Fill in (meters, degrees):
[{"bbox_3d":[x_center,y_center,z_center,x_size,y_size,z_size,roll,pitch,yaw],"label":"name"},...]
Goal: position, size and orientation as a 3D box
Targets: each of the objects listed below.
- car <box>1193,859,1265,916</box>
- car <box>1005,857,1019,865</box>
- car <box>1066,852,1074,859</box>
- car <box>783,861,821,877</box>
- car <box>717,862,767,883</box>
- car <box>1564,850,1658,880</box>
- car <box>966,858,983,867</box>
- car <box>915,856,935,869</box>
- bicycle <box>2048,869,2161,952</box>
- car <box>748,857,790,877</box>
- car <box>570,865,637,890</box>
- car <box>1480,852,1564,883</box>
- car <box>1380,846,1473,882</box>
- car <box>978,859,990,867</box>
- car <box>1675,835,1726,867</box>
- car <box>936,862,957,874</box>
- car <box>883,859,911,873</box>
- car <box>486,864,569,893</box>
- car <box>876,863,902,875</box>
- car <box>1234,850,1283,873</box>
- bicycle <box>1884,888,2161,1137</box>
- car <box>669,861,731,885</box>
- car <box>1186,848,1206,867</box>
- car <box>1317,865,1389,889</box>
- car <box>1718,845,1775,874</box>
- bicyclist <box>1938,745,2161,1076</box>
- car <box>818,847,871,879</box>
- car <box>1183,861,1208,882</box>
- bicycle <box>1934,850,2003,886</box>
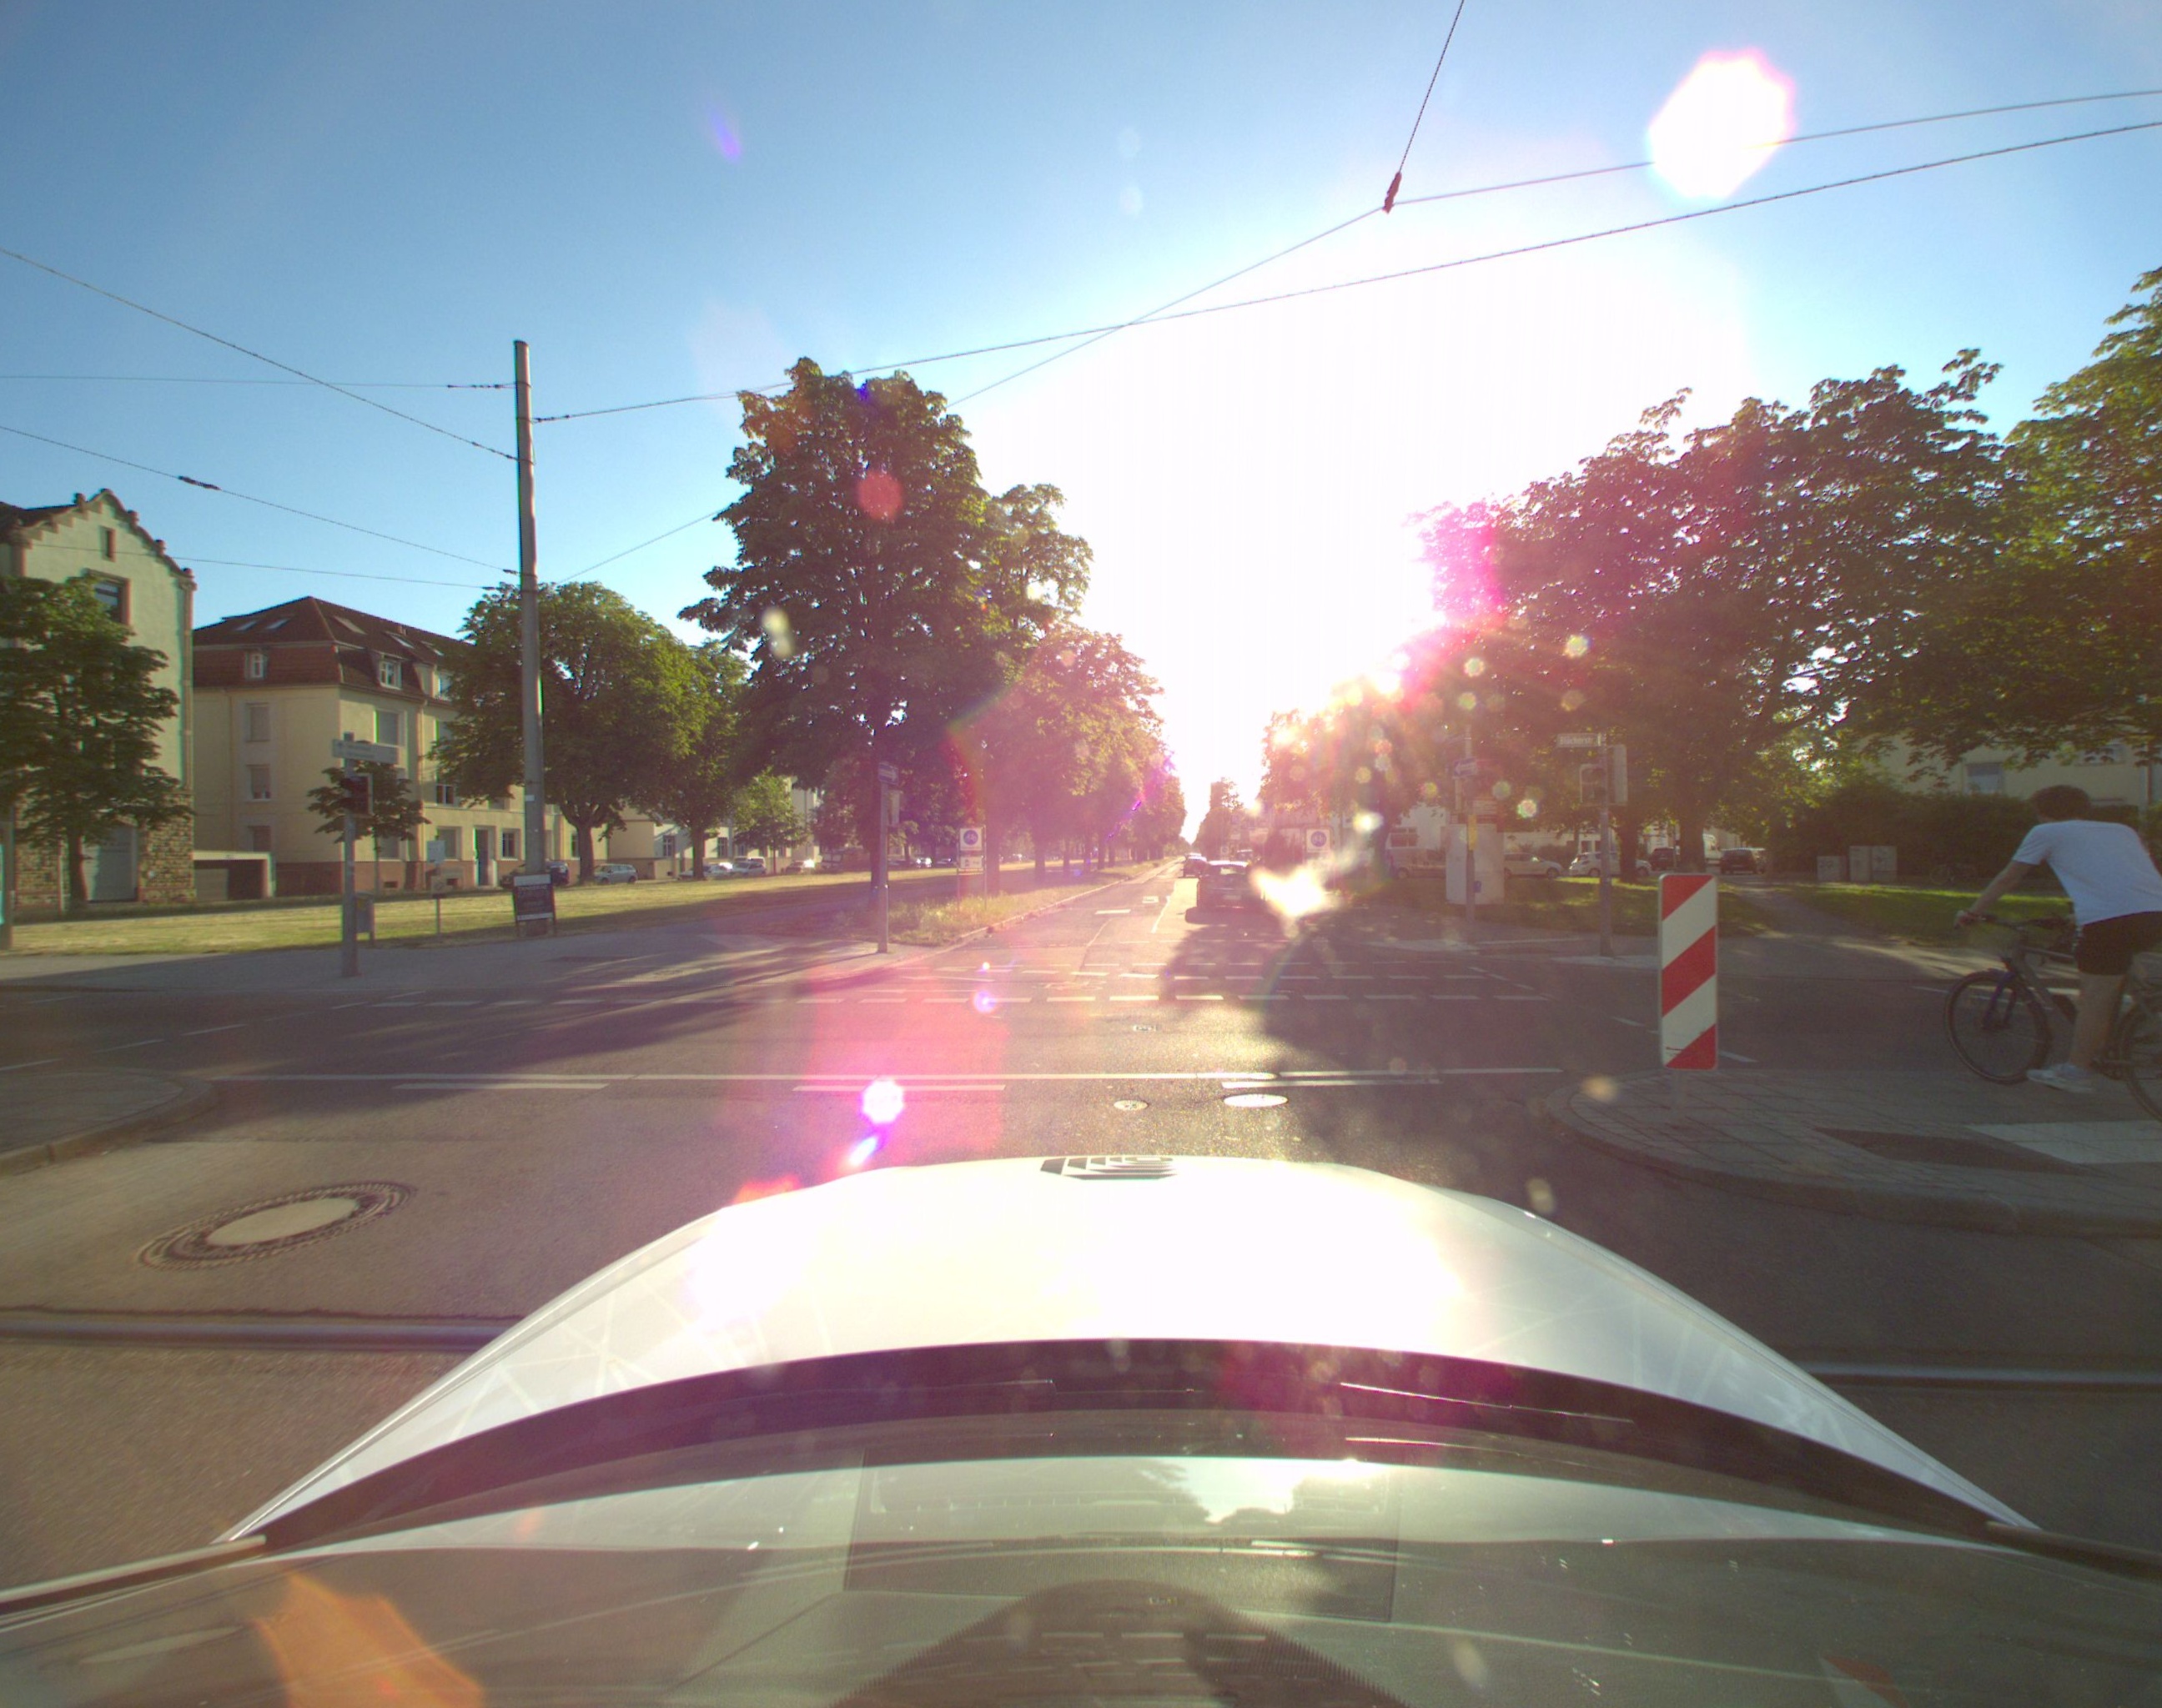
[{"bbox_3d":[4.364,0.924,24.559,1.717,1.511,4.546,1,0,5],"label":"car"},{"bbox_3d":[-14.581,1.426,172.073,1.983,1.659,4.580,-1,0,7],"label":"car"},{"bbox_3d":[-3.211,0.428,238.023,1.645,1.938,3.574,1,-2,7],"label":"car"},{"bbox_3d":[-30.335,1.570,88.728,1.982,1.659,4.582,1,0,9],"label":"car"},{"bbox_3d":[-27.712,1.480,66.732,1.787,1.554,4.427,2,1,6],"label":"car"},{"bbox_3d":[27.702,0.566,42.616,3.905,1.524,1.524,0,-1,2],"label":"car"},{"bbox_3d":[-20.770,1.722,158.663,1.982,1.659,4.366,1,0,9],"label":"car"},{"bbox_3d":[-24.760,1.327,129.487,1.983,2.014,4.006,1,0,6],"label":"car"},{"bbox_3d":[14.443,0.765,11.175,1.511,1.089,0.469,-1,2,15],"label":"bicycle"},{"bbox_3d":[-31.417,1.258,82.140,1.983,1.950,4.886,-1,0,6],"label":"car"},{"bbox_3d":[-34.507,1.663,58.981,1.982,1.659,4.010,1,0,9],"label":"car"},{"bbox_3d":[23.078,0.695,42.694,3.540,1.516,1.606,-1,0,1],"label":"car"},{"bbox_3d":[18.474,0.523,43.735,4.219,1.875,2.035,0,-1,7],"label":"car"},{"bbox_3d":[-19.800,1.846,166.181,1.631,1.643,3.861,1,0,6],"label":"car"},{"bbox_3d":[47.754,-0.206,62.758,4.541,2.337,2.089,2,-1,-39],"label":"car"},{"bbox_3d":[-20.153,2.086,121.949,1.801,1.781,4.132,1,0,8],"label":"car"},{"bbox_3d":[-22.946,1.451,101.715,1.869,1.674,4.325,1,0,8],"label":"car"},{"bbox_3d":[-35.627,1.536,52.567,1.982,1.736,4.322,1,0,9],"label":"car"},{"bbox_3d":[-26.504,2.056,112.489,1.982,1.659,4.385,1,0,9],"label":"car"},{"bbox_3d":[15.709,0.668,72.187,3.970,1.823,1.761,-1,-6,3],"label":"car"},{"bbox_3d":[5.841,0.833,4.824,0.569,1.184,1.911,1,0,11],"label":"bicycle"},{"bbox_3d":[-28.512,1.411,61.124,1.982,1.659,4.582,1,0,9],"label":"car"},{"bbox_3d":[11.753,0.327,83.433,1.983,1.781,4.008,1,1,7],"label":"car"},{"bbox_3d":[16.743,1.423,50.280,3.966,1.447,1.719,0,-1,7],"label":"car"},{"bbox_3d":[38.433,0.284,46.985,4.022,1.552,1.976,-2,1,-42],"label":"car"},{"bbox_3d":[5.796,0.300,4.694,0.809,1.732,0.896,1,-1,10],"label":"bicyclist"},{"bbox_3d":[-24.966,0.859,86.374,2.379,3.130,7.870,2,1,8],"label":"car"},{"bbox_3d":[8.117,1.213,57.752,1.700,1.359,4.212,1,0,8],"label":"car"},{"bbox_3d":[31.457,0.520,28.899,0.447,1.238,1.956,1,-2,5],"label":"bicycle"}]
